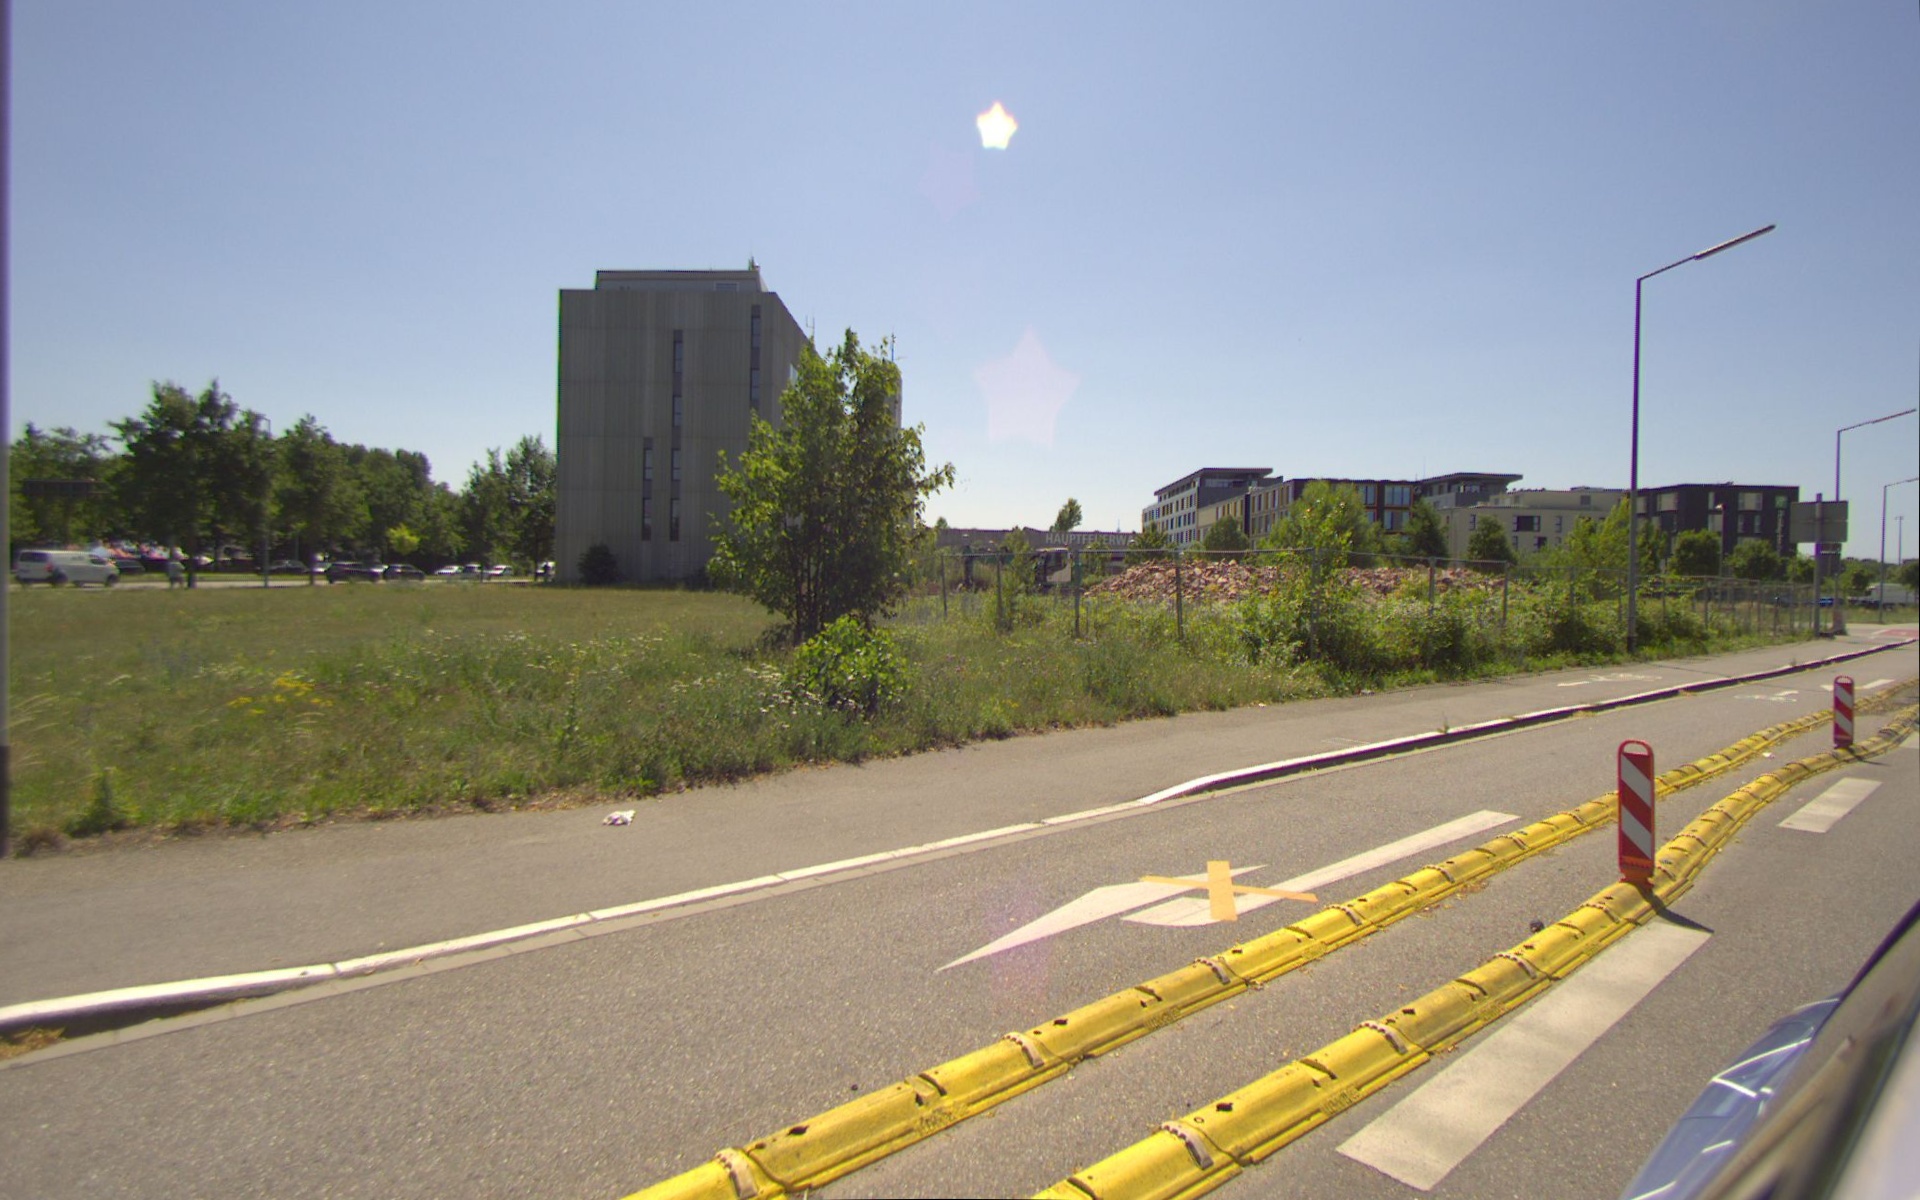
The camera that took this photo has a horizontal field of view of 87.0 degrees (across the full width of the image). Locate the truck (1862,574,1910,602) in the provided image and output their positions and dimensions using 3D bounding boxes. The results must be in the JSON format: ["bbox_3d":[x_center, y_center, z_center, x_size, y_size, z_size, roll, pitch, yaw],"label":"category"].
[{"bbox_3d":[115.883,-1.462,126.687,3.928,3.377,1.998,1,1,4],"label":"truck"}]

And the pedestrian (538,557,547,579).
[{"bbox_3d":[-33.640,-2.565,81.548,0.489,1.712,0.737,0,0,-1],"label":"pedestrian"}]

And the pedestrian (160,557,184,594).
[{"bbox_3d":[-34.093,-1.047,43.805,0.489,1.583,0.737,0,0,-1],"label":"pedestrian"}]

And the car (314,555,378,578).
[{"bbox_3d":[-45.087,-2.437,74.419,1.962,1.616,4.447,0,1,0],"label":"car"}]

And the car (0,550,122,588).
[{"bbox_3d":[-46.967,-1.590,53.003,1.963,1.873,4.985,0,1,2],"label":"car"}]

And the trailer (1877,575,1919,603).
[{"bbox_3d":[119.678,-1.342,126.389,8.030,3.390,1.998,1,1,4],"label":"trailer"}]

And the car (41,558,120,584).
[{"bbox_3d":[-59.053,-1.927,68.025,1.964,1.738,3.756,0,1,4],"label":"car"}]

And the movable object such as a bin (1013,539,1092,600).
[{"bbox_3d":[4.943,-1.585,53.950,3.619,3.101,2.207,0,1,-35],"label":"movable object such as a bin"}]

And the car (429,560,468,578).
[{"bbox_3d":[-57.704,-3.478,114.345,1.963,2.001,4.571,0,1,2],"label":"car"}]

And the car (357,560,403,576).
[{"bbox_3d":[-61.316,-3.413,107.059,1.963,1.590,4.779,0,1,2],"label":"car"}]

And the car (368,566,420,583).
[{"bbox_3d":[-47.400,-2.126,84.873,1.866,1.408,4.205,0,1,2],"label":"car"}]

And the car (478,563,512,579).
[{"bbox_3d":[-61.113,-3.785,133.184,1.963,2.039,5.083,0,1,2],"label":"car"}]

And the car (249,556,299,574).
[{"bbox_3d":[-61.414,-3.102,90.694,1.708,1.571,3.999,0,1,1],"label":"car"}]

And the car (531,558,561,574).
[{"bbox_3d":[-56.580,-4.662,138.380,1.963,2.039,5.083,0,1,2],"label":"car"}]

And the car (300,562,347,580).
[{"bbox_3d":[-57.813,-2.660,91.936,1.708,1.571,3.999,0,1,1],"label":"car"}]

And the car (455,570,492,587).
[{"bbox_3d":[-47.803,-2.117,99.486,1.708,1.571,3.999,0,1,1],"label":"car"}]
